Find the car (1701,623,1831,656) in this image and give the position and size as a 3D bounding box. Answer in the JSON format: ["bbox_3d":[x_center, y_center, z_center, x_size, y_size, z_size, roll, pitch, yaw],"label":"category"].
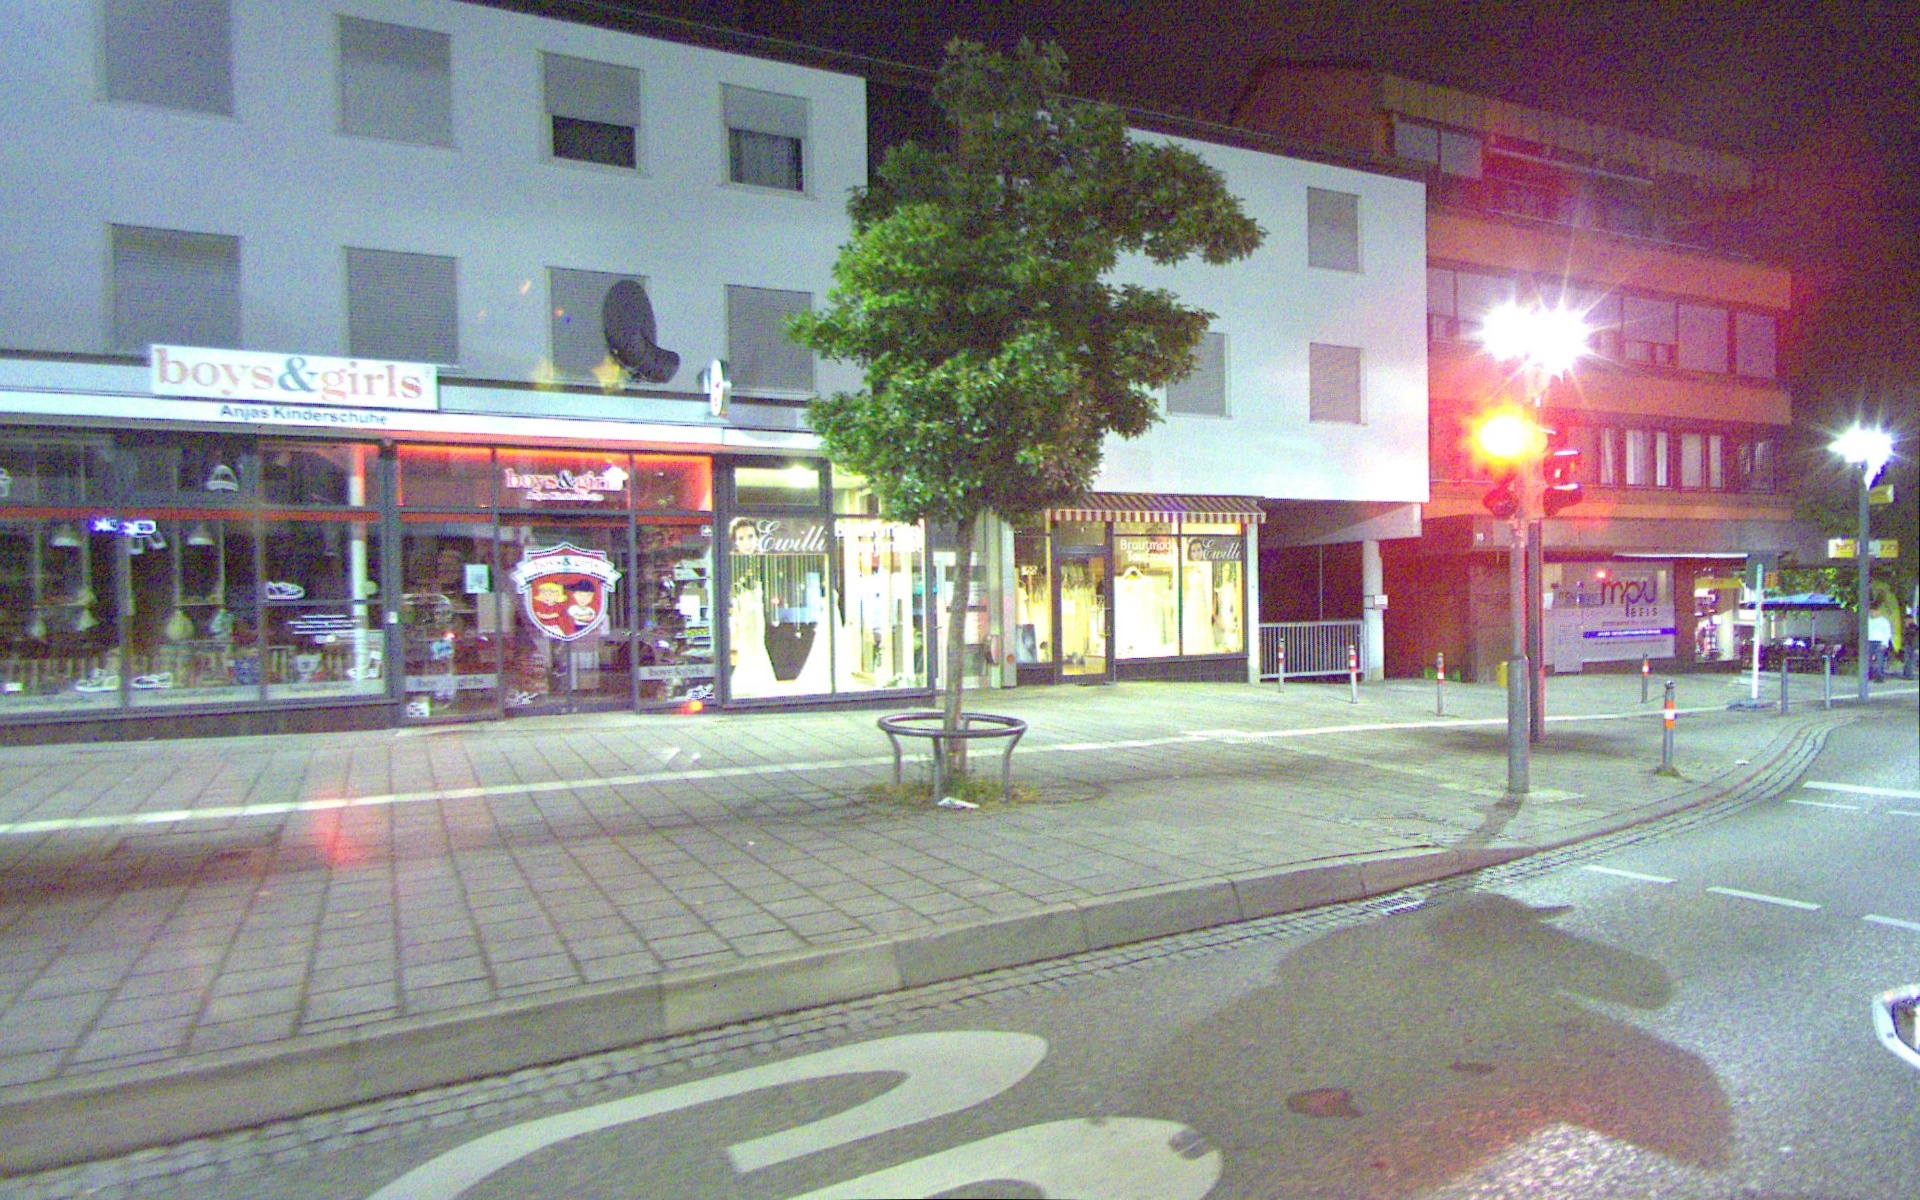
[{"bbox_3d":[37.291,1.824,46.576,1.623,1.314,4.394,3,-1,-31],"label":"car"}]

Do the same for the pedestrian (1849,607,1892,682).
[{"bbox_3d":[22.882,1.110,25.241,0.565,1.819,0.709,3,-1,-42],"label":"pedestrian"}]

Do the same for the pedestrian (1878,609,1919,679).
[{"bbox_3d":[25.084,1.158,26.754,0.561,1.819,0.714,2,-1,-23],"label":"pedestrian"}]

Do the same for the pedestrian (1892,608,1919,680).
[{"bbox_3d":[24.379,1.126,25.593,0.561,1.819,0.714,2,-1,-23],"label":"pedestrian"}]
